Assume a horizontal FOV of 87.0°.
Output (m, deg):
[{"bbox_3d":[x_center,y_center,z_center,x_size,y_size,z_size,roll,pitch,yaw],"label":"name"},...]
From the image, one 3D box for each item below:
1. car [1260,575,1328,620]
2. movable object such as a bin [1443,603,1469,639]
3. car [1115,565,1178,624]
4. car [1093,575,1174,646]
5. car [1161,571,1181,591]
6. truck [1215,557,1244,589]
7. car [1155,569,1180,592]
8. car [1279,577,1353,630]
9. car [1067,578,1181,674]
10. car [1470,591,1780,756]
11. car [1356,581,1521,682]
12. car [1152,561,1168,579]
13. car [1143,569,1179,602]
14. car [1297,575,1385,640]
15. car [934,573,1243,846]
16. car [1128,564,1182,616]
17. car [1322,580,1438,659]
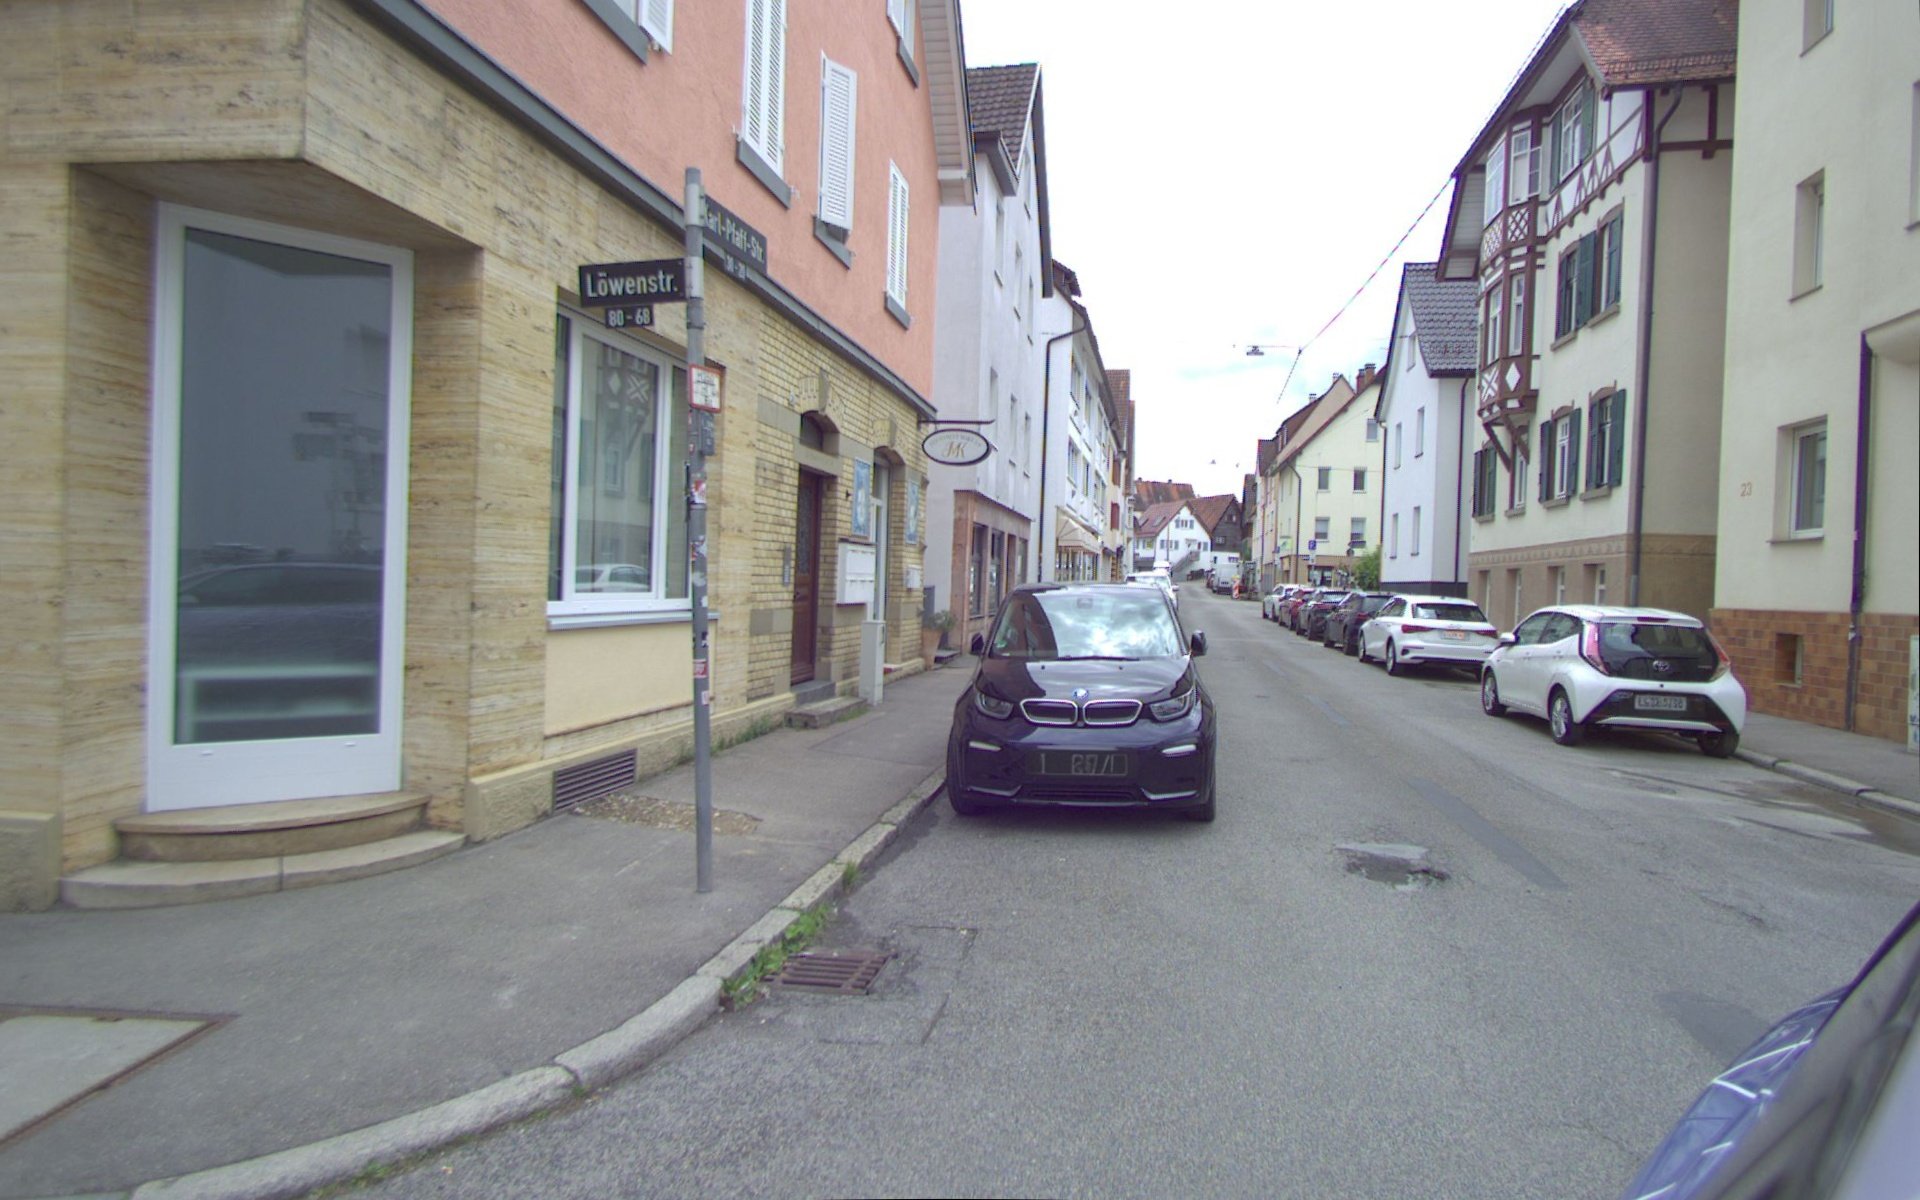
[{"bbox_3d":[12.872,-0.158,39.233,1.729,1.448,4.340,4,3,9],"label":"car"},{"bbox_3d":[13.583,0.565,27.722,0.507,0.943,0.601,1,1,13],"label":"movable object such as a bin"},{"bbox_3d":[6.161,-0.253,33.190,1.873,1.726,4.479,1,2,12],"label":"car"},{"bbox_3d":[4.172,0.177,23.956,1.730,1.450,3.915,0,2,12],"label":"car"},{"bbox_3d":[17.338,-1.596,83.094,1.582,1.490,3.539,-1,2,12],"label":"car"},{"bbox_3d":[21.075,-2.160,79.377,1.757,2.421,5.469,1,2,11],"label":"truck"},{"bbox_3d":[14.197,-1.366,69.185,1.582,1.490,3.975,-1,2,12],"label":"car"},{"bbox_3d":[11.886,0.061,34.001,1.731,1.466,4.053,4,3,12],"label":"car"},{"bbox_3d":[3.028,0.373,18.333,1.764,1.434,4.564,-1,2,11],"label":"car"},{"bbox_3d":[7.377,0.685,11.707,1.647,1.451,3.803,3,2,12],"label":"car"},{"bbox_3d":[8.757,0.476,18.945,1.731,1.449,4.355,4,3,12],"label":"car"},{"bbox_3d":[20.532,-3.104,103.914,1.582,1.747,3.539,-1,2,12],"label":"car"},{"bbox_3d":[10.408,-0.771,52.177,1.650,1.547,3.974,-1,2,13],"label":"car"},{"bbox_3d":[10.760,0.152,28.836,1.731,1.527,4.069,4,3,13],"label":"car"},{"bbox_3d":[1.048,0.579,7.916,1.794,1.562,4.017,0,1,9],"label":"car"},{"bbox_3d":[7.444,-0.444,38.442,1.873,1.811,4.330,1,2,12],"label":"car"},{"bbox_3d":[9.779,0.366,23.908,1.731,1.473,4.354,4,3,13],"label":"car"}]
